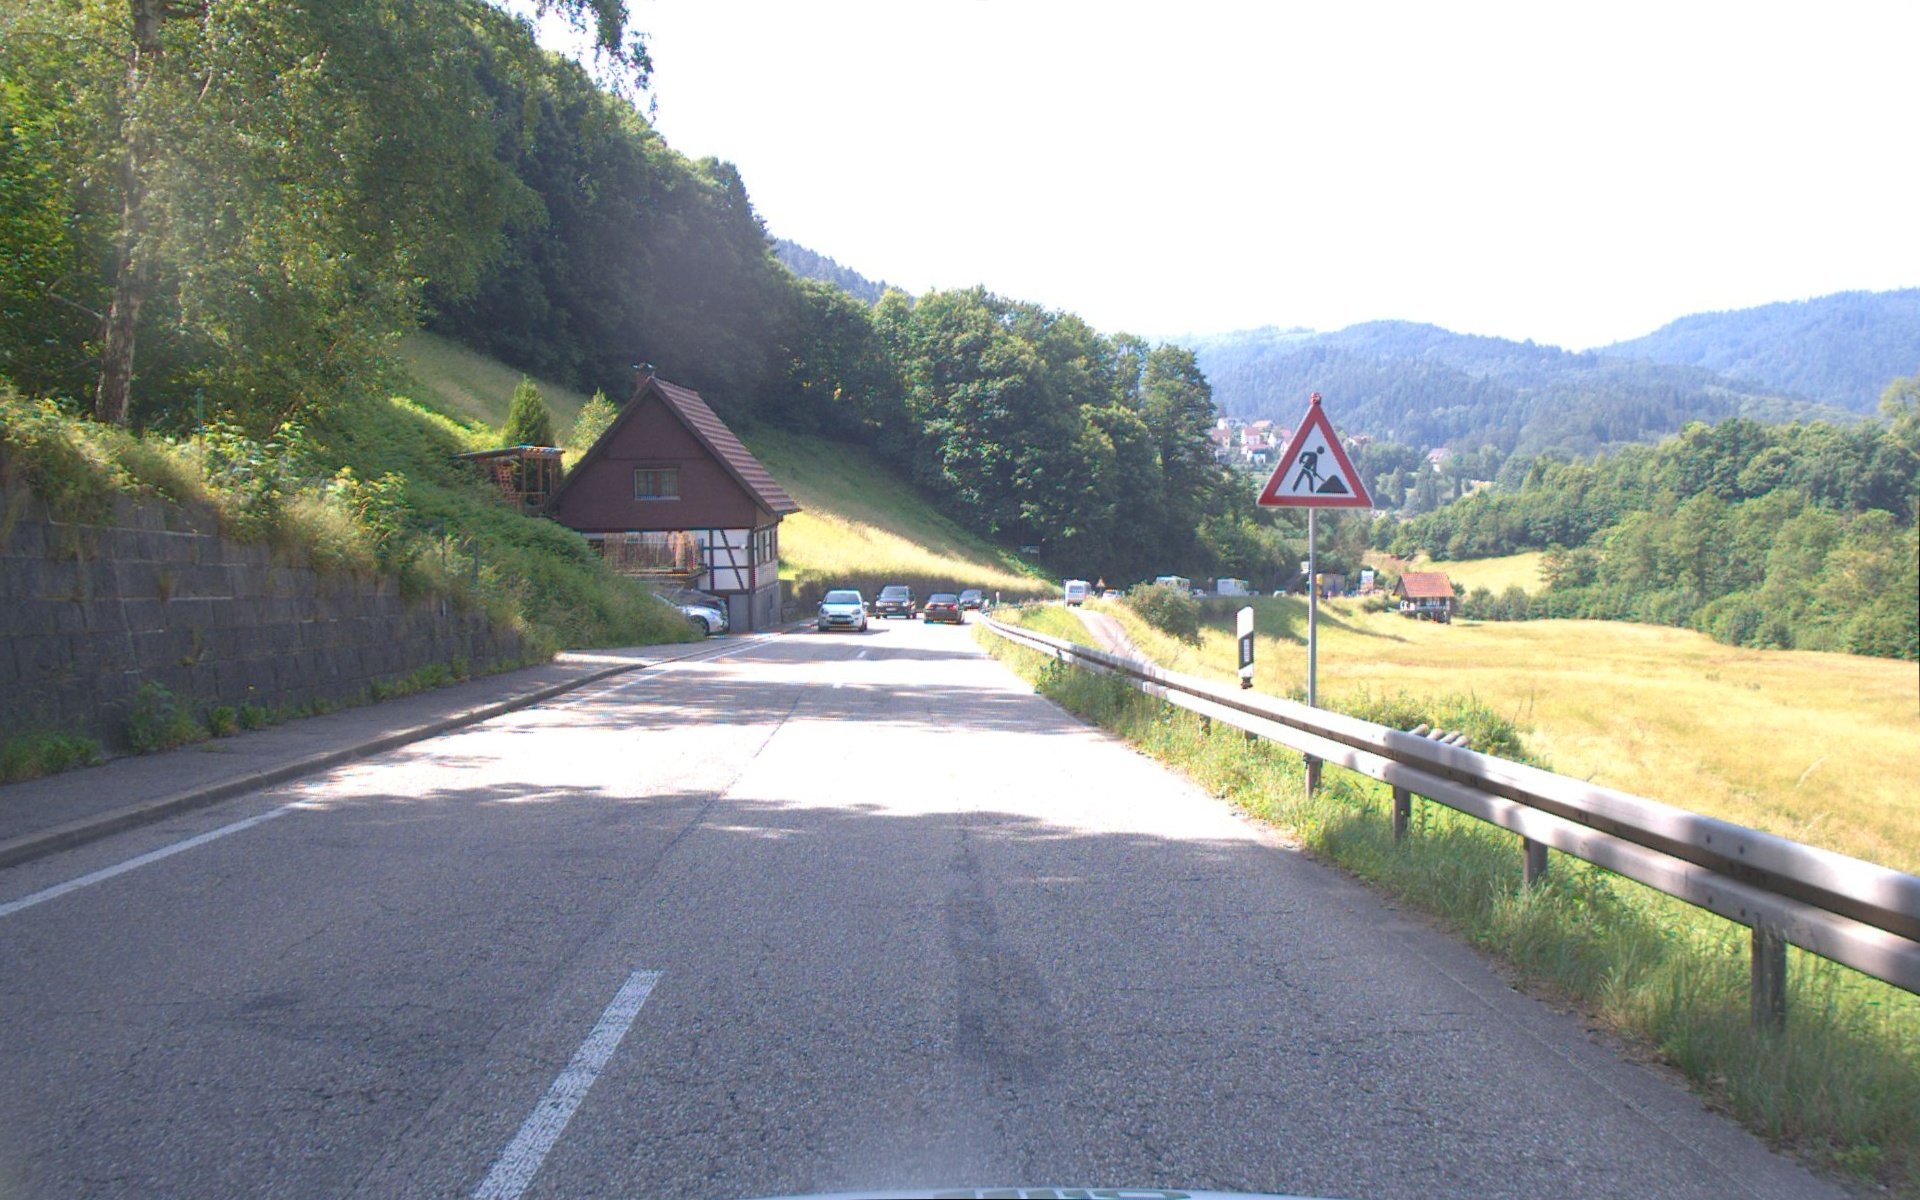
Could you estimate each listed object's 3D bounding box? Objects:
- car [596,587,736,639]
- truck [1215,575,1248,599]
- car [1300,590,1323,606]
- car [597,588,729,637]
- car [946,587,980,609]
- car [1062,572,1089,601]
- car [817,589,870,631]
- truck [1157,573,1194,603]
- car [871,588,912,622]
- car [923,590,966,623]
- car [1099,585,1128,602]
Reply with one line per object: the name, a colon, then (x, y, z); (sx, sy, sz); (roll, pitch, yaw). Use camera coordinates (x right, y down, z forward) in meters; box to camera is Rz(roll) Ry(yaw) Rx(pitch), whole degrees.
car: (-8.632, 0.379, 48.785); (3.737, 1.441, 1.858); (1, 1, 2)
truck: (34.015, -1.601, 206.893); (2.194, 2.852, 6.224); (3, 0, 27)
car: (50.089, -0.281, 235.516); (1.957, 1.959, 3.992); (5, 1, 30)
car: (-9.242, 0.380, 51.716); (3.737, 1.458, 1.864); (1, 1, 2)
car: (0.243, -0.145, 112.920); (1.727, 1.420, 4.149); (1, 2, 8)
car: (10.138, -1.191, 145.350); (1.951, 2.393, 4.919); (2, 2, 8)
car: (-4.246, 0.374, 60.738); (1.741, 1.462, 3.999); (0, -1, -1)
truck: (24.252, -1.384, 185.914); (2.733, 3.049, 6.871); (4, 2, 19)
car: (-3.471, 0.247, 84.588); (1.850, 1.674, 4.258); (0, 0, 0)
car: (-0.707, 0.287, 76.940); (1.734, 1.358, 3.769); (2, 2, 3)
car: (15.425, -0.638, 165.709); (1.952, 1.509, 4.002); (4, 2, 19)
